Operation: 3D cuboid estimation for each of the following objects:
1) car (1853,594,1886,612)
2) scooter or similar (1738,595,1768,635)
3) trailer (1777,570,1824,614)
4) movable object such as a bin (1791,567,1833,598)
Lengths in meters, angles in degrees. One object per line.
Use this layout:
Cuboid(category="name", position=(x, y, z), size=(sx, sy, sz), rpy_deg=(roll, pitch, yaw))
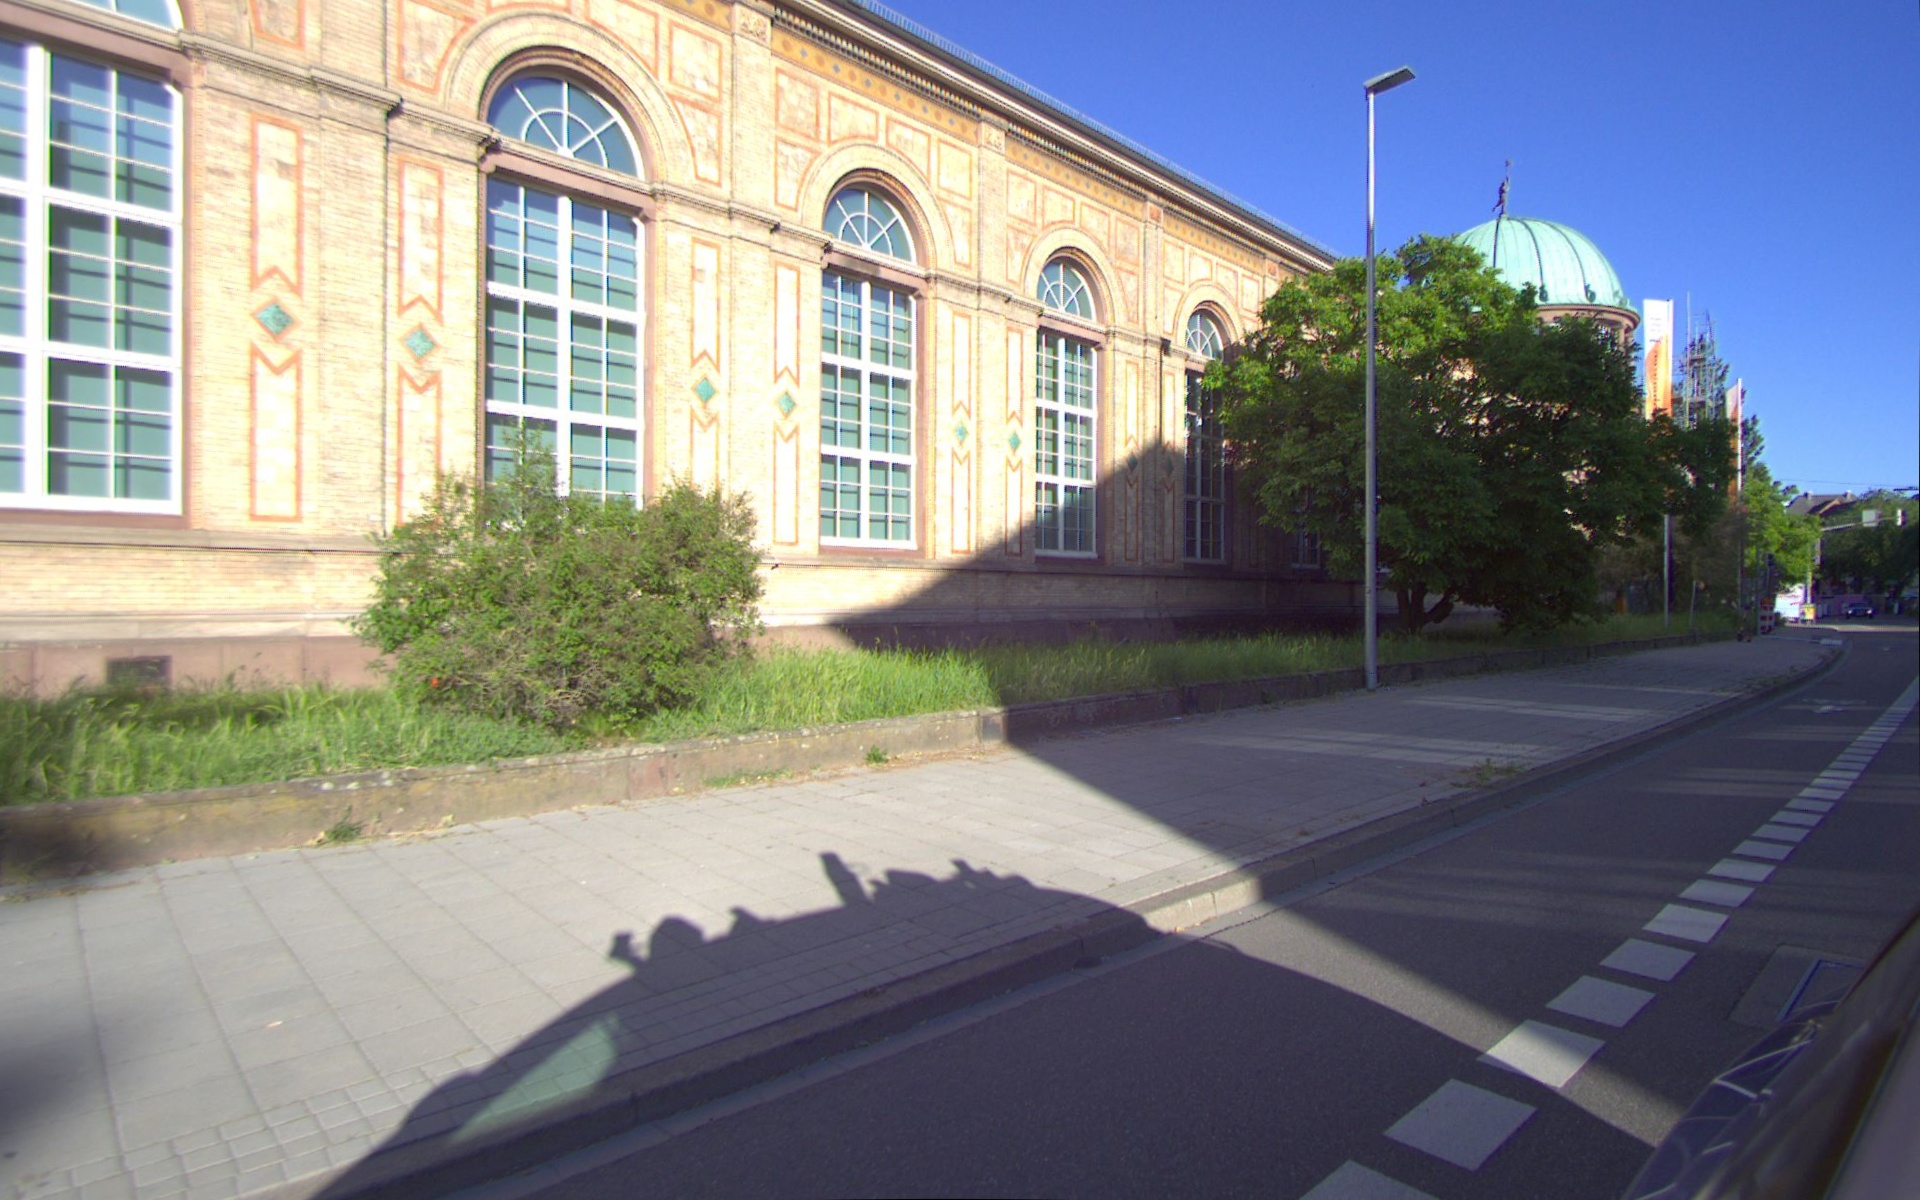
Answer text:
Cuboid(category="car", position=(75.081, 0.269, 83.569), size=(1.545, 1.311, 3.592), rpy_deg=(4, 3, 35))
Cuboid(category="scooter or similar", position=(26.557, 0.481, 33.885), size=(1.802, 1.325, 0.556), rpy_deg=(0, 0, -44))
Cuboid(category="trailer", position=(52.418, -0.523, 63.164), size=(2.077, 2.559, 4.428), rpy_deg=(3, 2, 39))
Cuboid(category="movable object such as a bin", position=(95.091, -1.943, 113.047), size=(3.152, 3.341, 4.330), rpy_deg=(1, 1, 35))
